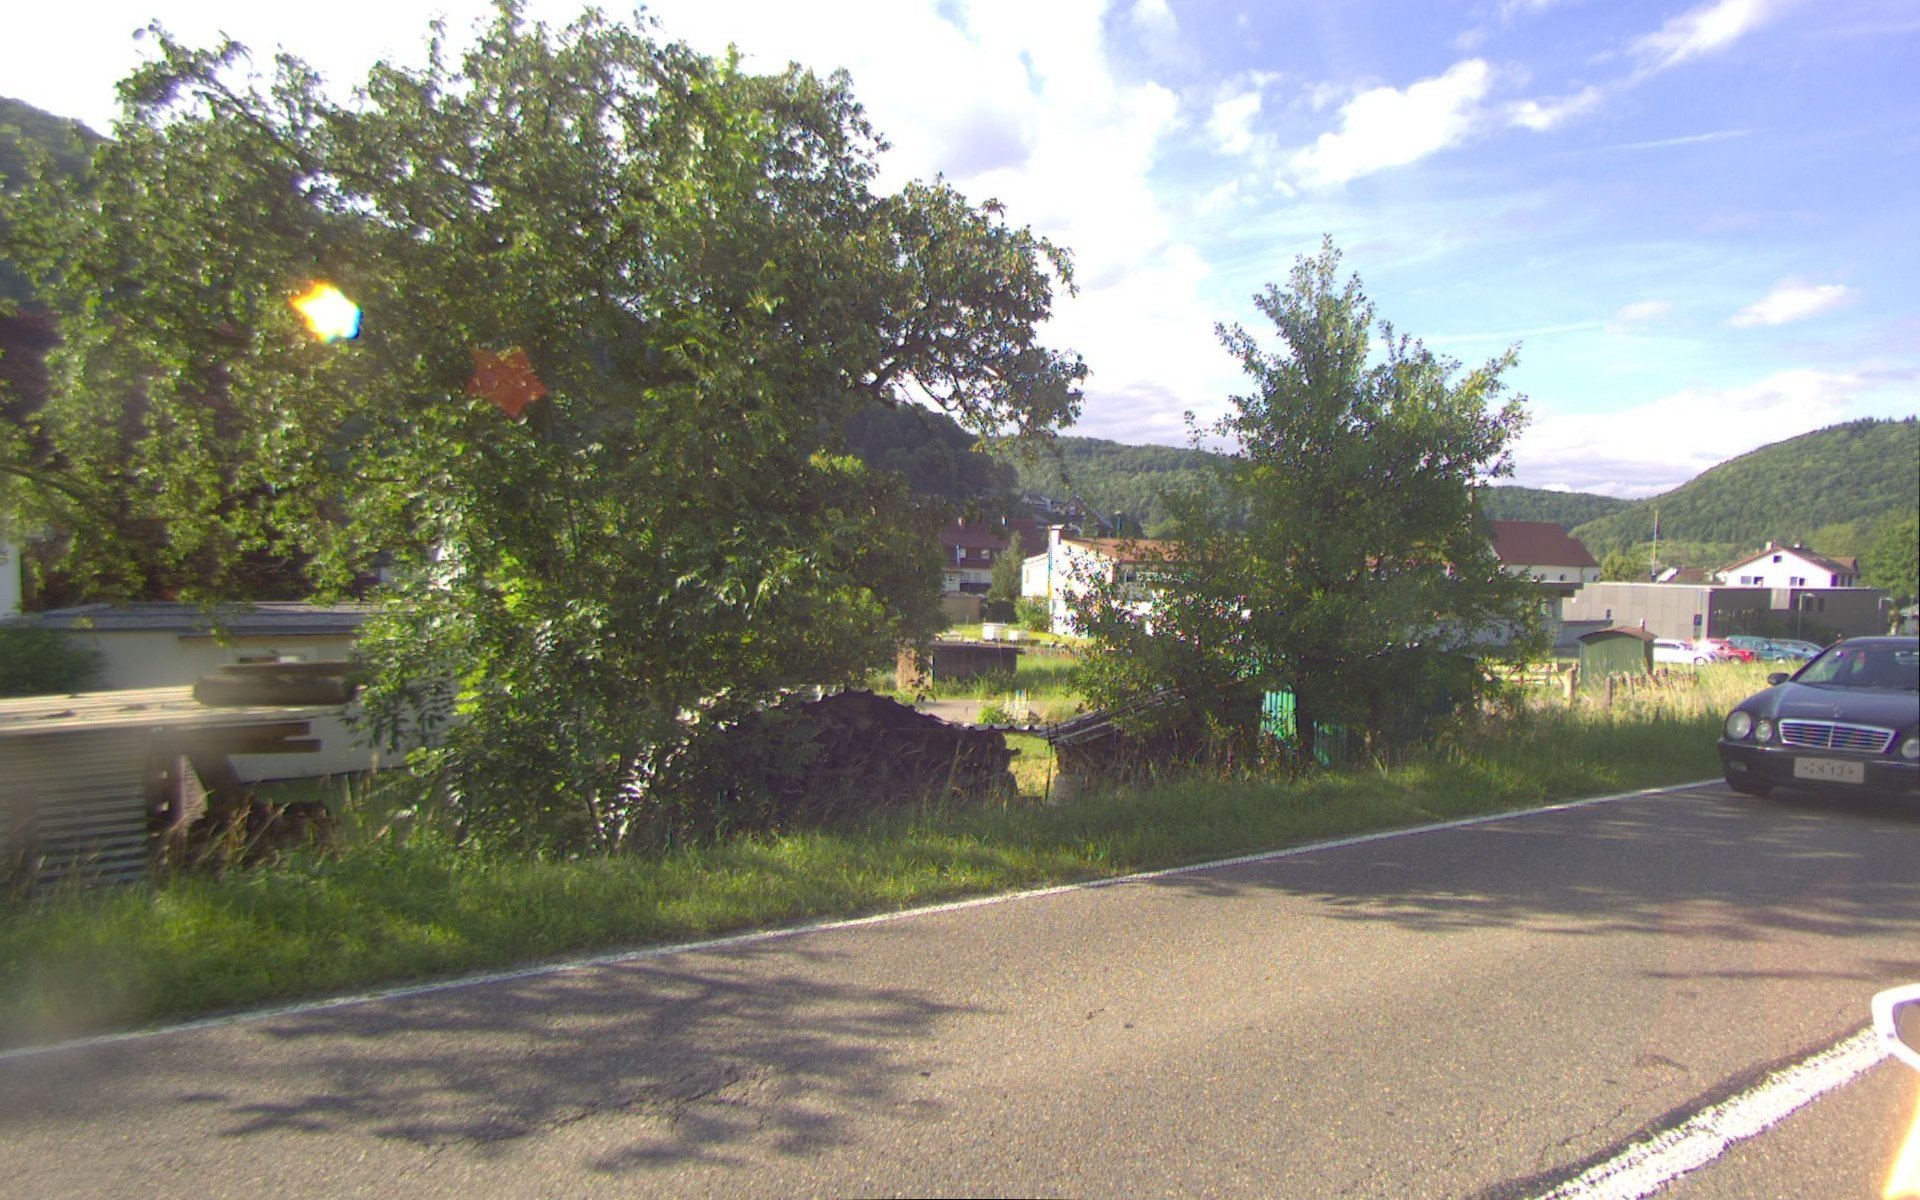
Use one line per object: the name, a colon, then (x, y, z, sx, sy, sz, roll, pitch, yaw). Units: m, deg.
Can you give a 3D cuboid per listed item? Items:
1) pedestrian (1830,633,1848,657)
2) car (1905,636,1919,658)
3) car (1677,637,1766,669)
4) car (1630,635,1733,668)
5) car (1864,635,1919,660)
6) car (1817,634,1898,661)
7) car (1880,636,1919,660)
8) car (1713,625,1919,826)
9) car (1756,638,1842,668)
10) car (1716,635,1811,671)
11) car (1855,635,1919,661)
pedestrian: (74.117, 3.801, 84.694, 0.962, 2.040, 0.820, 2, 0, -32)
car: (78.980, 3.880, 80.783, 1.979, 1.733, 3.962, 2, 0, -34)
car: (46.739, 3.215, 61.727, 1.979, 1.733, 3.962, 2, 0, -34)
car: (43.824, 3.126, 61.078, 1.979, 1.733, 4.702, 2, 0, -34)
car: (71.356, 3.626, 76.064, 1.979, 1.733, 3.962, 2, 0, -34)
car: (64.296, 3.394, 72.018, 1.979, 1.733, 3.962, 2, 0, -34)
car: (74.139, 3.719, 77.735, 1.979, 1.733, 3.962, 2, 0, -34)
car: (8.254, 0.953, 8.583, 4.158, 1.372, 1.585, 2, 0, -33)
car: (55.336, 3.496, 66.316, 1.979, 1.733, 3.962, 2, 0, -34)
car: (51.563, 3.374, 64.513, 1.979, 2.034, 4.379, 2, 0, -34)
car: (68.562, 3.529, 73.698, 1.979, 1.733, 3.962, 2, 0, -34)
